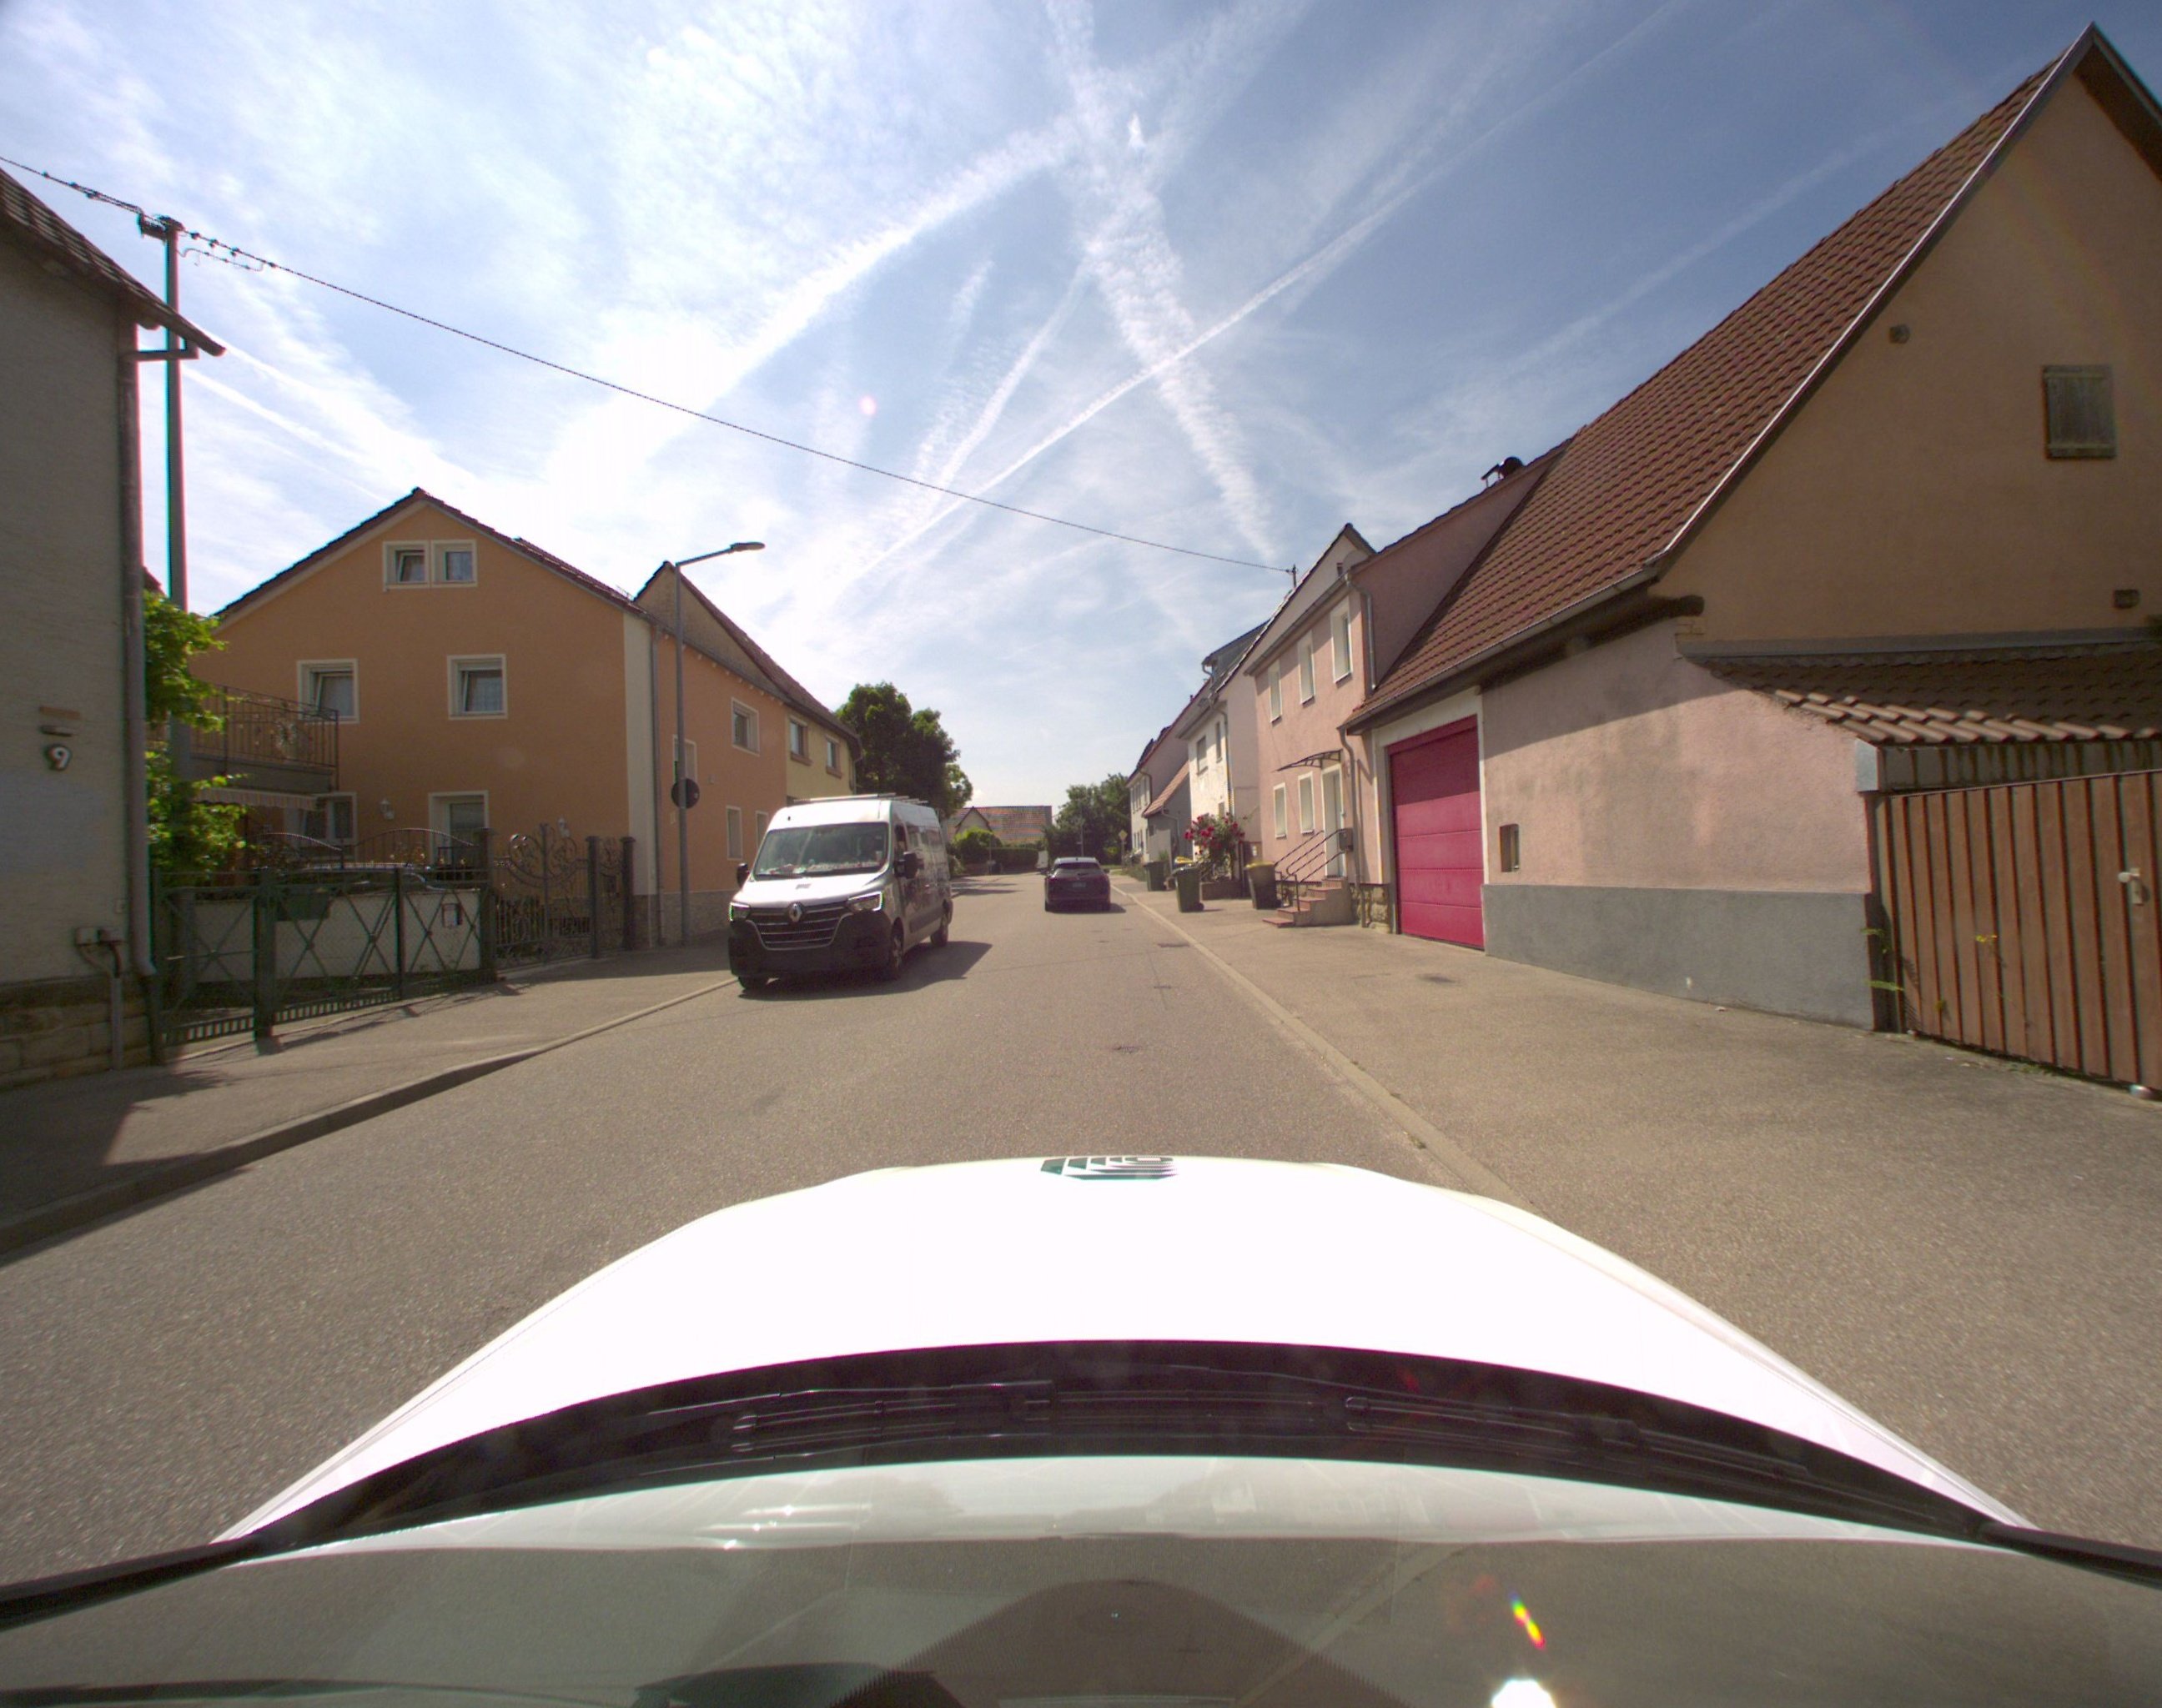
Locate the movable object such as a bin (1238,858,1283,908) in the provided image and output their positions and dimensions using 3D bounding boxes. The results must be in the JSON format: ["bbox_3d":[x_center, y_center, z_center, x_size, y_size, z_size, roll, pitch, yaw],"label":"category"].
[{"bbox_3d":[4.088,0.646,18.631,0.677,1.050,0.833,-6,0,-6],"label":"movable object such as a bin"}]

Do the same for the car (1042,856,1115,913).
[{"bbox_3d":[-0.177,0.806,23.466,1.837,1.420,4.677,-2,0,-3],"label":"car"}]

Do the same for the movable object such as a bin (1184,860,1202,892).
[{"bbox_3d":[3.669,0.715,26.642,0.502,0.993,0.441,-2,0,-2],"label":"movable object such as a bin"}]

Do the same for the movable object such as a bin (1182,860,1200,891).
[{"bbox_3d":[3.679,0.720,27.247,0.502,0.993,0.441,-2,0,-2],"label":"movable object such as a bin"}]

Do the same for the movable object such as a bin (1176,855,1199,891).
[{"bbox_3d":[3.618,0.627,27.788,0.663,1.194,0.587,-2,0,-2],"label":"movable object such as a bin"}]

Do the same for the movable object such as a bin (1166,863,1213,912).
[{"bbox_3d":[2.628,0.806,19.814,0.875,1.074,0.871,-6,0,-6],"label":"movable object such as a bin"}]

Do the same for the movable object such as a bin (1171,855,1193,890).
[{"bbox_3d":[3.555,0.637,28.664,0.663,1.194,0.660,-2,0,-2],"label":"movable object such as a bin"}]

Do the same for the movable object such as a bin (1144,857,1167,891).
[{"bbox_3d":[2.644,0.701,28.977,0.677,1.155,0.818,-1,0,-6],"label":"movable object such as a bin"}]

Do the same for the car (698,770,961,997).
[{"bbox_3d":[-3.383,0.334,12.476,2.107,2.562,5.826,-3,0,0],"label":"car"}]

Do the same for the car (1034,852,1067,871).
[{"bbox_3d":[-3.551,0.806,94.678,2.110,2.013,4.962,-2,0,19],"label":"car"}]

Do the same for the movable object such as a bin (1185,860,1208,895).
[{"bbox_3d":[3.639,0.734,25.662,0.590,1.040,0.530,-2,0,-2],"label":"movable object such as a bin"}]
